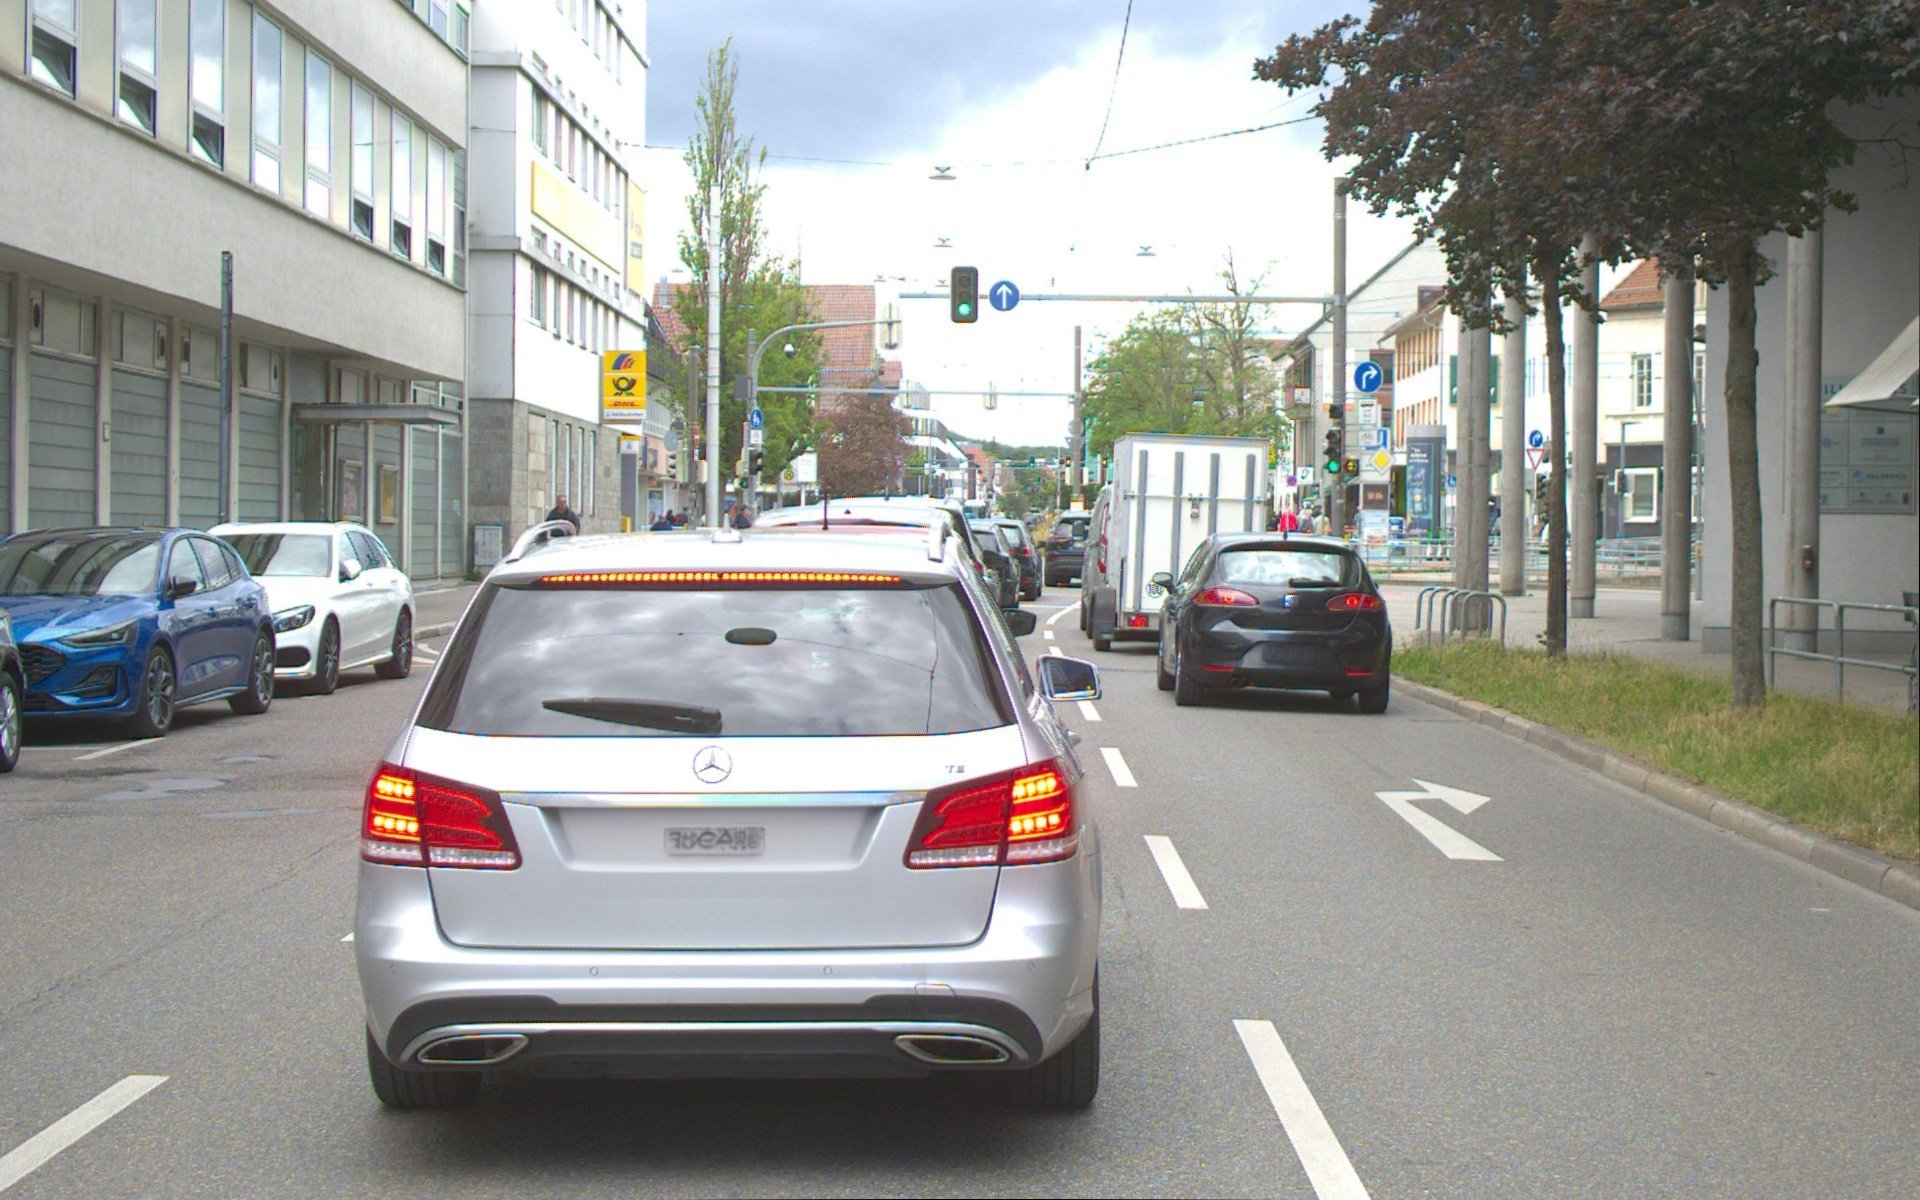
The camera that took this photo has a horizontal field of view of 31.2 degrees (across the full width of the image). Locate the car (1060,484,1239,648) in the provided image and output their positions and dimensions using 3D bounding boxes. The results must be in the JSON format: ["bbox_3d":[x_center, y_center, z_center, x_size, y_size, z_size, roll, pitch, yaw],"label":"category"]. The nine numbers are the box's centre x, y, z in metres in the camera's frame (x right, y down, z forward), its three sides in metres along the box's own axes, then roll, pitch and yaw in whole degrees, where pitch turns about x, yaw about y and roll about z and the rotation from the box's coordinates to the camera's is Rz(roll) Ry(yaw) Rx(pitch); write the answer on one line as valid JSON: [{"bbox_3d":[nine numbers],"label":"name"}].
[{"bbox_3d":[2.428,-0.480,45.147,1.877,1.939,4.907,3,1,-1],"label":"car"}]

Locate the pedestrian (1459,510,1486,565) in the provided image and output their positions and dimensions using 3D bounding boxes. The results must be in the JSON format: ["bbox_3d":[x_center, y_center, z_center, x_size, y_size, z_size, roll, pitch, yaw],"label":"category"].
[{"bbox_3d":[16.026,-1.963,107.480,0.648,1.712,0.703,1,1,27],"label":"pedestrian"}]

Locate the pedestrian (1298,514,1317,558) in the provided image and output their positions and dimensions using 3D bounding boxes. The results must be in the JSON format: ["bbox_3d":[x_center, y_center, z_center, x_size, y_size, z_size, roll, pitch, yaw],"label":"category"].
[{"bbox_3d":[13.348,-2.451,132.078,0.578,1.660,0.651,2,1,-1],"label":"pedestrian"}]

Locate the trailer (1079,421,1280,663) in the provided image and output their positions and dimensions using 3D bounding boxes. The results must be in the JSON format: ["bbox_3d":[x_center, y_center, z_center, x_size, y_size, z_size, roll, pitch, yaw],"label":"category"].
[{"bbox_3d":[2.521,-0.699,40.520,1.877,2.604,4.323,3,1,-1],"label":"trailer"}]

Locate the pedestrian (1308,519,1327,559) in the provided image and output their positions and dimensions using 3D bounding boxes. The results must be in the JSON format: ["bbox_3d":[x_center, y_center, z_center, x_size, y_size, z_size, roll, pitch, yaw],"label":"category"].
[{"bbox_3d":[13.432,-2.301,129.180,0.578,1.464,0.651,2,1,-2],"label":"pedestrian"}]

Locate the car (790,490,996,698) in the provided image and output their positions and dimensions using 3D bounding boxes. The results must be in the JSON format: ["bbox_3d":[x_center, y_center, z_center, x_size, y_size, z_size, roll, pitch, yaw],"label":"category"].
[{"bbox_3d":[-0.609,-0.101,31.117,1.734,1.753,4.000,0,1,-1],"label":"car"}]

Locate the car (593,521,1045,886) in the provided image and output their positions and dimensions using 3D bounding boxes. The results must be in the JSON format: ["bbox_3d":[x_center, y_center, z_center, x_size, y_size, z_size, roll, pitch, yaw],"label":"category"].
[{"bbox_3d":[-0.548,0.390,16.456,1.734,1.503,4.000,1,1,4],"label":"car"}]

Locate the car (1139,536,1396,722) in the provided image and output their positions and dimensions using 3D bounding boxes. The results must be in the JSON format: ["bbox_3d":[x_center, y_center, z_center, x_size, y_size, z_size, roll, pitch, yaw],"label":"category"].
[{"bbox_3d":[2.527,0.191,29.104,1.734,1.406,4.001,0,2,-1],"label":"car"}]

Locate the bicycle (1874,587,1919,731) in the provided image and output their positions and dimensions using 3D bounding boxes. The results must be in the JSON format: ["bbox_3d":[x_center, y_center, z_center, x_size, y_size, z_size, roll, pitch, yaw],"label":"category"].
[{"bbox_3d":[7.554,0.468,26.565,0.361,1.083,2.028,2,1,-1],"label":"bicycle"}]

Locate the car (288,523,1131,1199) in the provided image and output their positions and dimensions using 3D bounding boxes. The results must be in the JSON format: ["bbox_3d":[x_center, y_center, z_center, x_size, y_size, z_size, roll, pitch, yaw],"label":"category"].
[{"bbox_3d":[-0.594,0.546,9.643,1.845,1.503,4.171,0,1,-1],"label":"car"}]

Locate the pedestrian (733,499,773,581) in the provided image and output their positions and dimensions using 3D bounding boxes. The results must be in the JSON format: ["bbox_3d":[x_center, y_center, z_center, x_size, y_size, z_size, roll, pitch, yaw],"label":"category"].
[{"bbox_3d":[-4.393,-1.281,72.825,0.648,1.712,0.782,2,1,8],"label":"pedestrian"}]

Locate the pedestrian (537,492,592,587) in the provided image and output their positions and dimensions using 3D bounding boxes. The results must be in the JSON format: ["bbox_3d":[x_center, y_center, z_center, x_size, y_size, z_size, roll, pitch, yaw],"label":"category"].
[{"bbox_3d":[-7.359,-1.130,63.983,0.861,1.712,1.032,2,1,-1],"label":"pedestrian"}]

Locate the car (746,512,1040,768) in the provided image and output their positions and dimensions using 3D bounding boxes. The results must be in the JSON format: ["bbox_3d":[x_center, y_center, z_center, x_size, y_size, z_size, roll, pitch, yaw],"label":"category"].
[{"bbox_3d":[-0.438,0.189,22.337,1.734,1.503,4.000,0,1,-1],"label":"car"}]

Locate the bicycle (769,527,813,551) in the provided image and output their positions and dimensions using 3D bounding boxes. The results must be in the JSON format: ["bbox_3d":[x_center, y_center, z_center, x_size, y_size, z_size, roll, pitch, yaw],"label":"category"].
[{"bbox_3d":[-7.653,-2.744,155.826,1.937,1.025,0.530,2,1,-8],"label":"bicycle"}]

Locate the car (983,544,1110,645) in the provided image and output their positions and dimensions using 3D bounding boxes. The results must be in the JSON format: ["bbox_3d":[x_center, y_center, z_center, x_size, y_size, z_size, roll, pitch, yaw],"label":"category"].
[{"bbox_3d":[1.275,-0.112,52.228,1.734,1.406,4.001,0,2,-1],"label":"car"}]

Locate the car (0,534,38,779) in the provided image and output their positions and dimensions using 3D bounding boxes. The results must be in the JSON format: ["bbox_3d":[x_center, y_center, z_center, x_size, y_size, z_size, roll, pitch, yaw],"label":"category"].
[{"bbox_3d":[-6.433,0.370,18.951,1.716,1.420,3.871,-1,1,-1],"label":"car"}]

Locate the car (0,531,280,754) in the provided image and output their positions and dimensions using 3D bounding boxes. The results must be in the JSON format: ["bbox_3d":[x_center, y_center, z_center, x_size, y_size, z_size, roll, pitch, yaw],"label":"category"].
[{"bbox_3d":[-6.281,0.243,24.522,1.815,1.421,4.264,-1,1,3],"label":"car"}]

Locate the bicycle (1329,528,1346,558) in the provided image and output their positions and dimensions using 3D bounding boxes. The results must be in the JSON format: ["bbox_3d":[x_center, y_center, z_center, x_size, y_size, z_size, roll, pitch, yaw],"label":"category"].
[{"bbox_3d":[14.264,-2.160,129.932,0.448,1.087,2.149,1,1,2],"label":"bicycle"}]

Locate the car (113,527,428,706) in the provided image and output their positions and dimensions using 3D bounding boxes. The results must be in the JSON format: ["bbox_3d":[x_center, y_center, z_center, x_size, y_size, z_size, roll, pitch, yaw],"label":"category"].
[{"bbox_3d":[-6.022,0.088,30.547,1.670,1.429,4.553,-1,1,3],"label":"car"}]
